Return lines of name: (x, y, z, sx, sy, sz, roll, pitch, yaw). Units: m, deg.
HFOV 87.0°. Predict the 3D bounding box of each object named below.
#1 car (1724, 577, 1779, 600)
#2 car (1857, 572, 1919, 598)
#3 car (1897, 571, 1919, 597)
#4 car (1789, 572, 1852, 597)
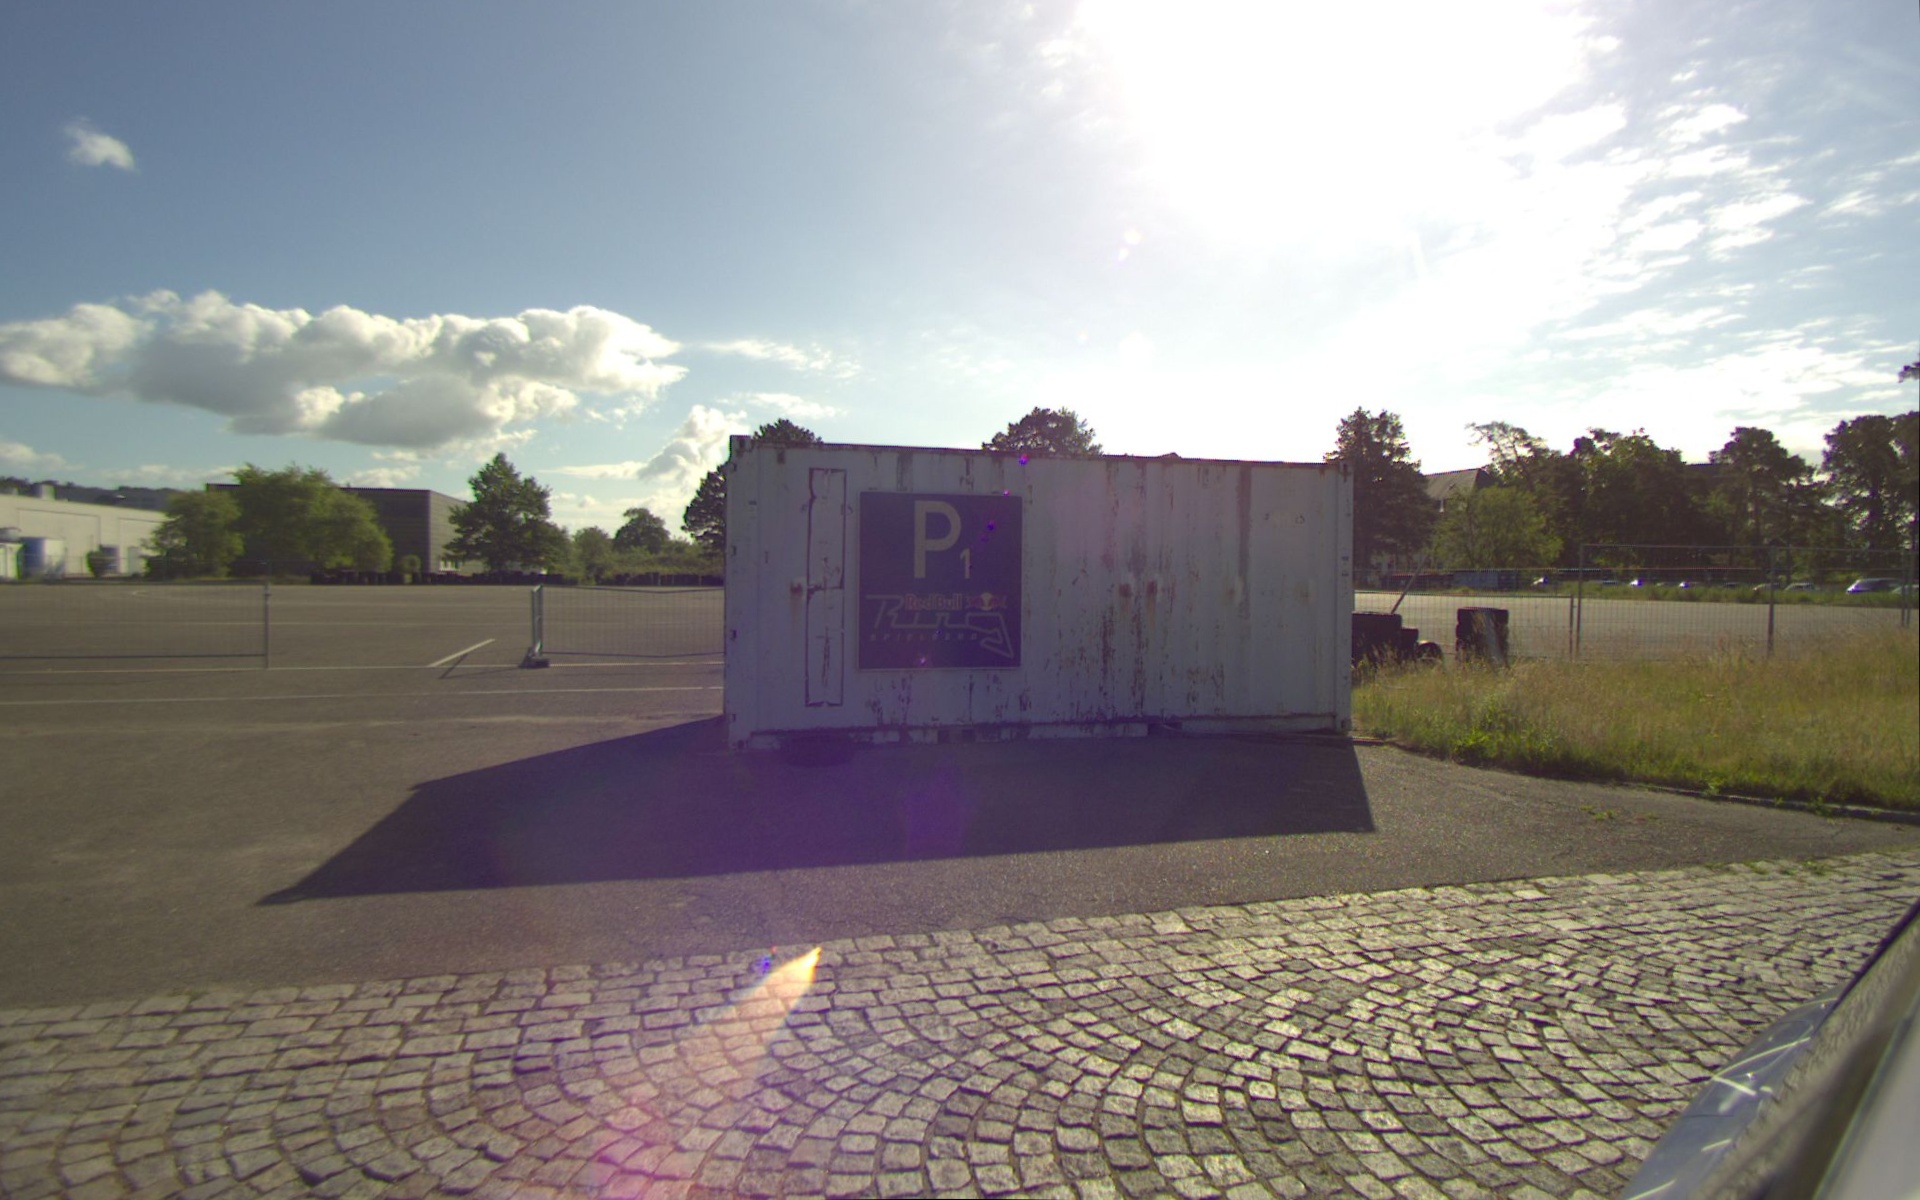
car: (72.181, -1.043, 92.267, 3.916, 2.040, 2.003, 0, -2, -17)
car: (74.724, -1.244, 81.463, 3.916, 2.038, 2.005, 0, 2, -18)
car: (75.889, -1.252, 79.227, 3.916, 1.972, 2.005, 0, 2, -18)
car: (73.712, -1.301, 86.736, 3.918, 2.040, 2.002, -1, -1, -9)
